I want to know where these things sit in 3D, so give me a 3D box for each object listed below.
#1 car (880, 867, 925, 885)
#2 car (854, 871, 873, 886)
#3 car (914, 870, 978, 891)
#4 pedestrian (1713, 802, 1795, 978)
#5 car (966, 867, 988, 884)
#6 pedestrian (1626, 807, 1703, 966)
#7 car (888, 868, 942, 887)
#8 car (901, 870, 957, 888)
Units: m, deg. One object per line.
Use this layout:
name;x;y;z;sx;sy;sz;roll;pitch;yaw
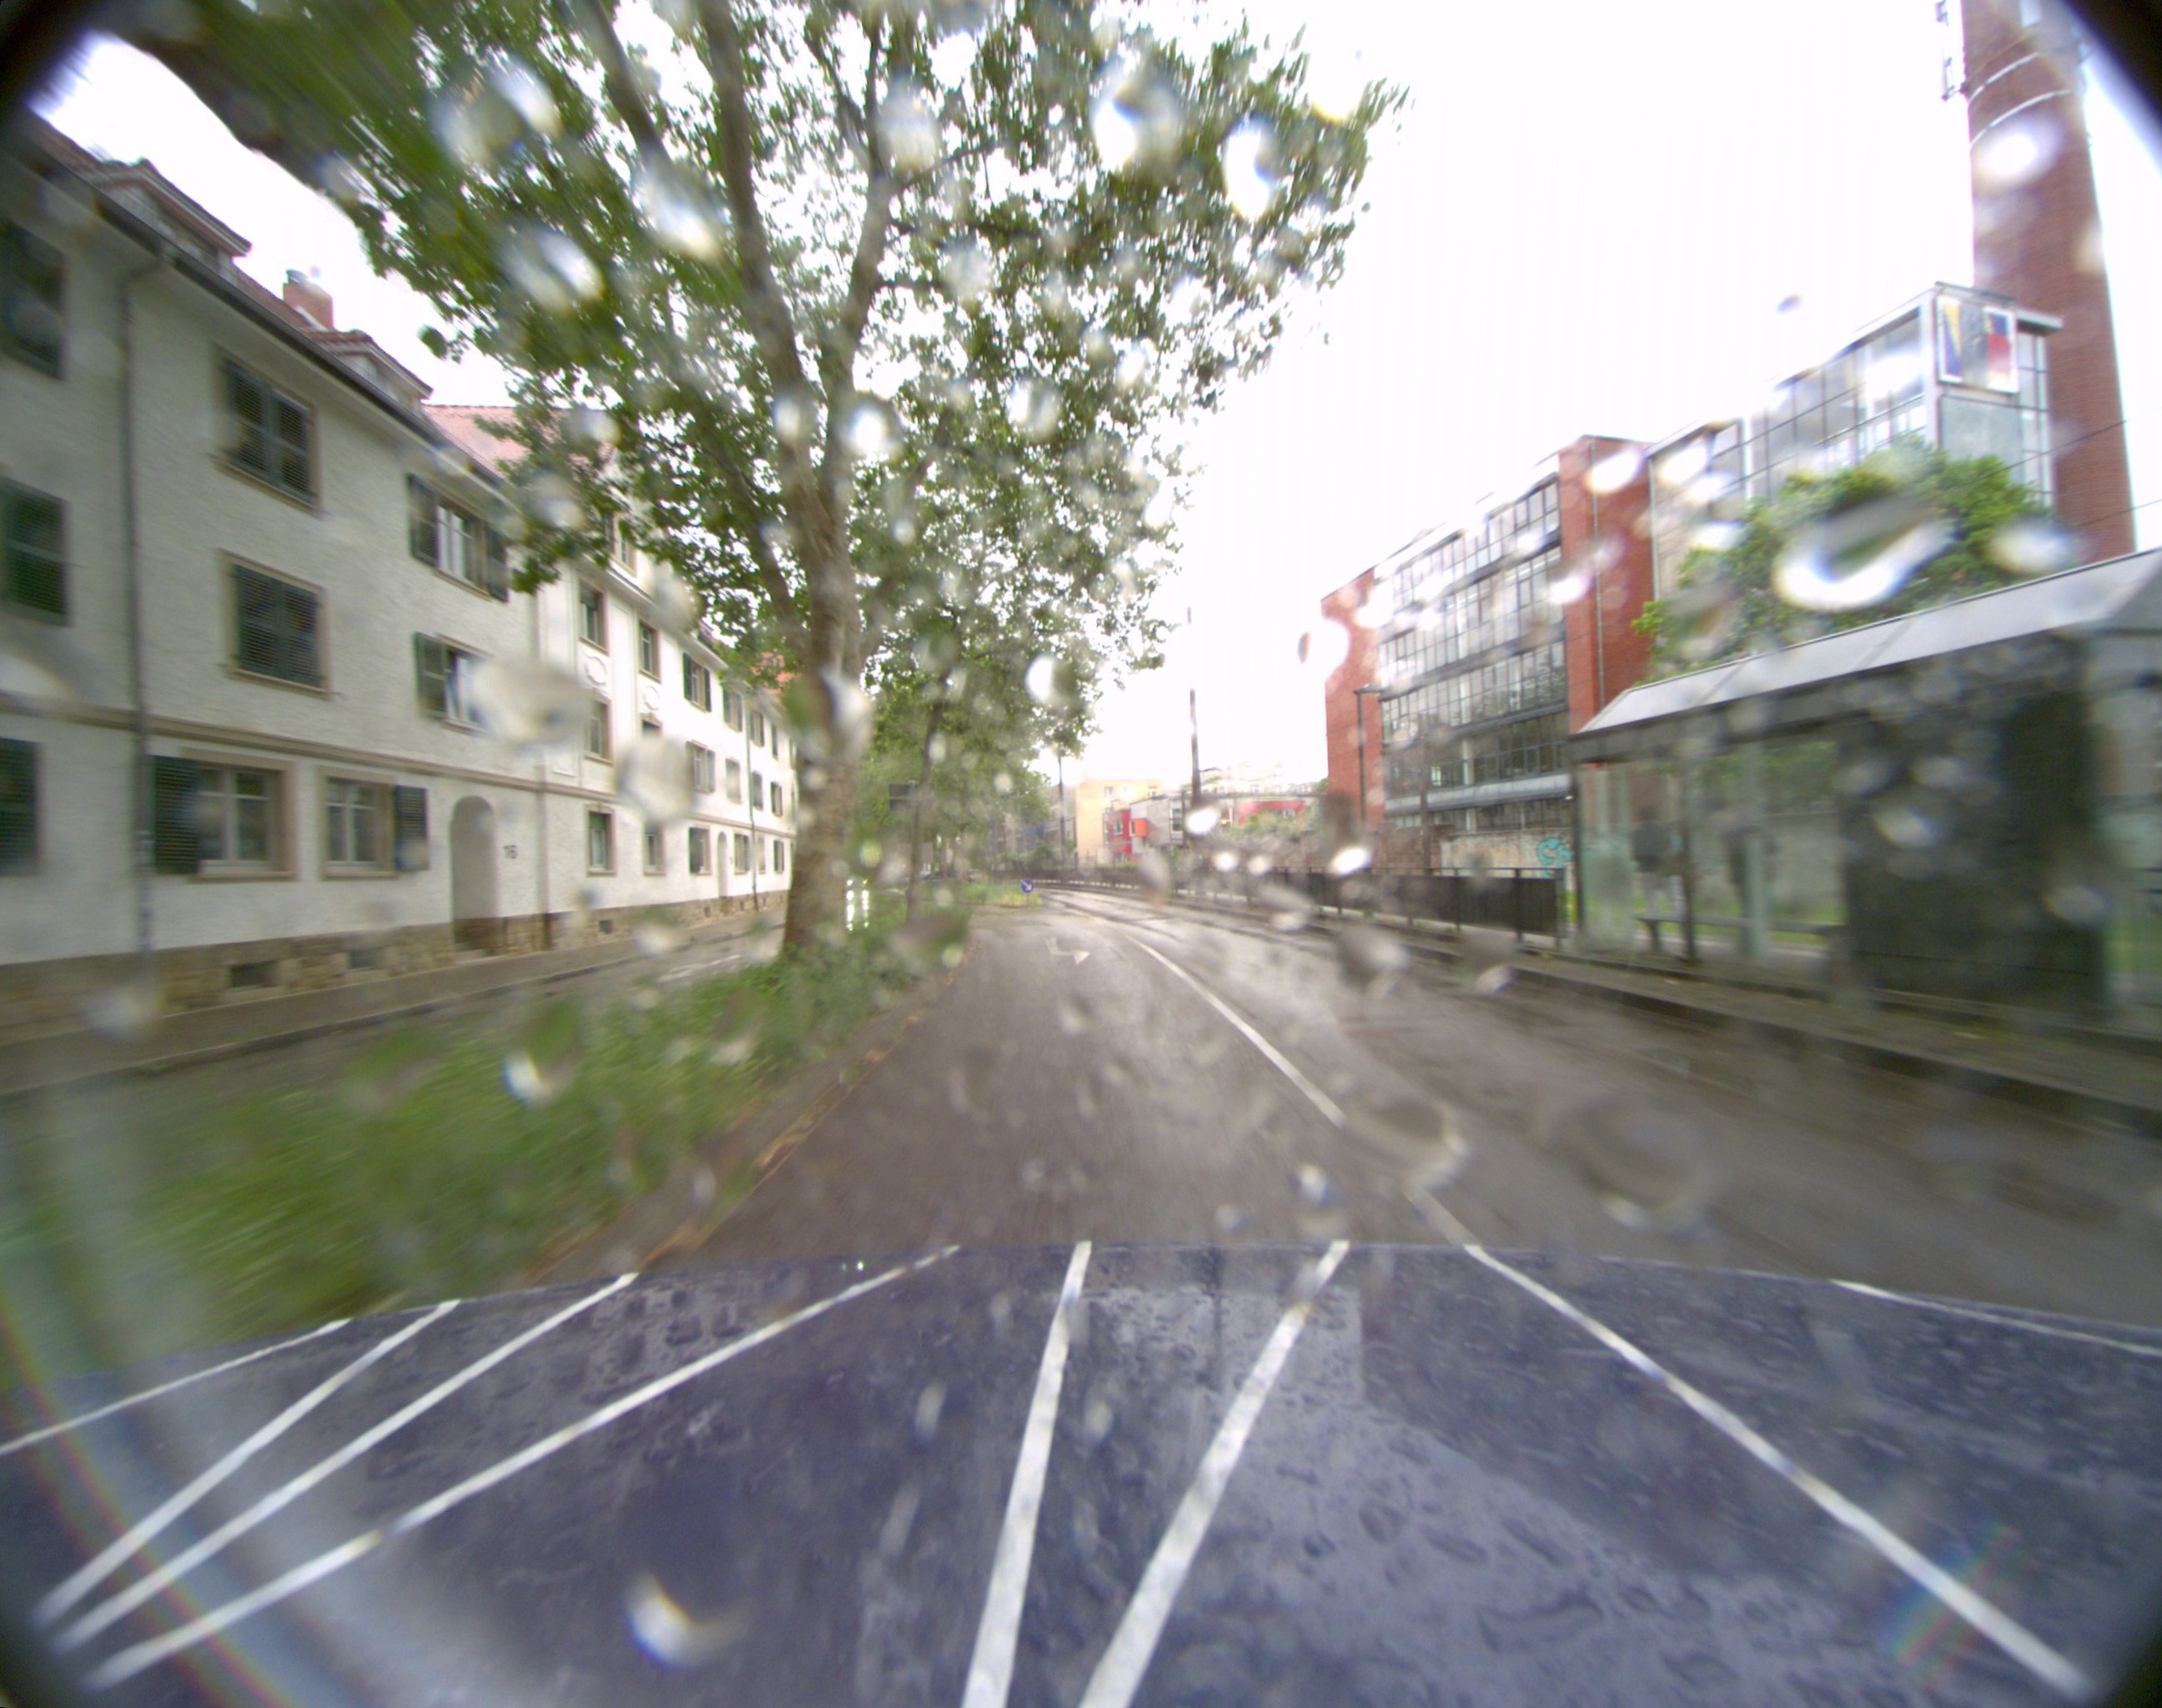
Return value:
car;-21.614;2.661;92.140;4.884;2.002;2.002;-1;0;11
car;-23.521;2.626;82.068;1.853;1.586;4.210;-2;-1;-17
car;-10.001;1.965;56.409;4.224;1.532;1.933;-1;0;11
pedestrian;6.947;0.358;7.843;0.584;1.721;0.566;-1;0;-43
car;-11.542;2.363;84.040;1.694;1.713;3.686;-1;0;-20
pedestrian;6.597;0.354;8.591;0.584;1.721;0.567;-1;0;-41
car;-14.785;2.123;67.698;4.328;1.603;1.750;-1;-1;7
car;-12.959;2.156;64.930;4.326;1.499;1.750;-1;0;13
